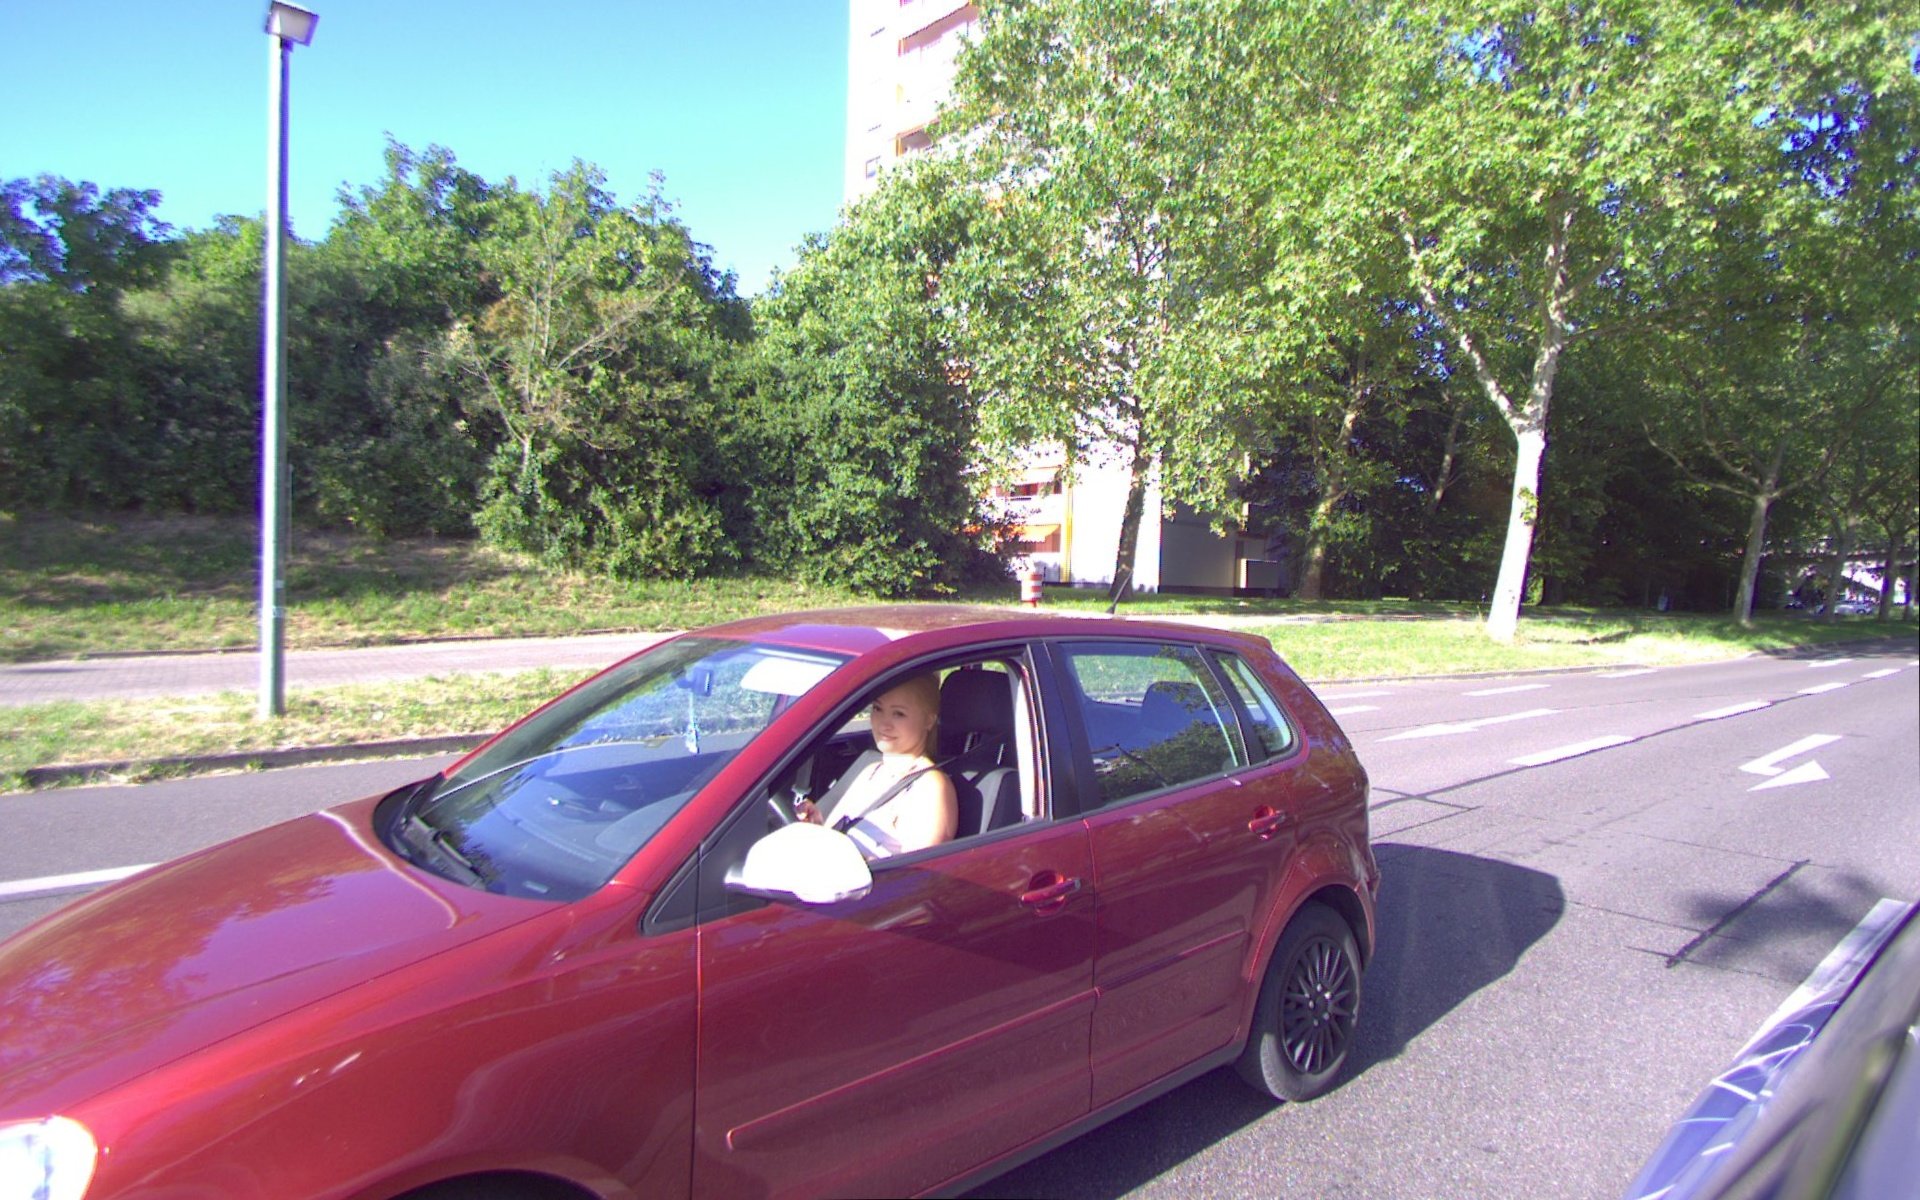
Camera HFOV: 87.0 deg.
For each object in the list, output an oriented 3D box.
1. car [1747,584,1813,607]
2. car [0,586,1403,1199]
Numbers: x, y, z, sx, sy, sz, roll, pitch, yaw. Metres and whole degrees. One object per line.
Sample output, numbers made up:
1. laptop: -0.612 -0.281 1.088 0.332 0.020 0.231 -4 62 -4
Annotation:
1. car: 75.451 -0.430 93.180 4.700 1.959 1.879 1 1 41
2. car: -0.448 0.709 2.722 3.624 1.479 1.579 -1 0 -40
